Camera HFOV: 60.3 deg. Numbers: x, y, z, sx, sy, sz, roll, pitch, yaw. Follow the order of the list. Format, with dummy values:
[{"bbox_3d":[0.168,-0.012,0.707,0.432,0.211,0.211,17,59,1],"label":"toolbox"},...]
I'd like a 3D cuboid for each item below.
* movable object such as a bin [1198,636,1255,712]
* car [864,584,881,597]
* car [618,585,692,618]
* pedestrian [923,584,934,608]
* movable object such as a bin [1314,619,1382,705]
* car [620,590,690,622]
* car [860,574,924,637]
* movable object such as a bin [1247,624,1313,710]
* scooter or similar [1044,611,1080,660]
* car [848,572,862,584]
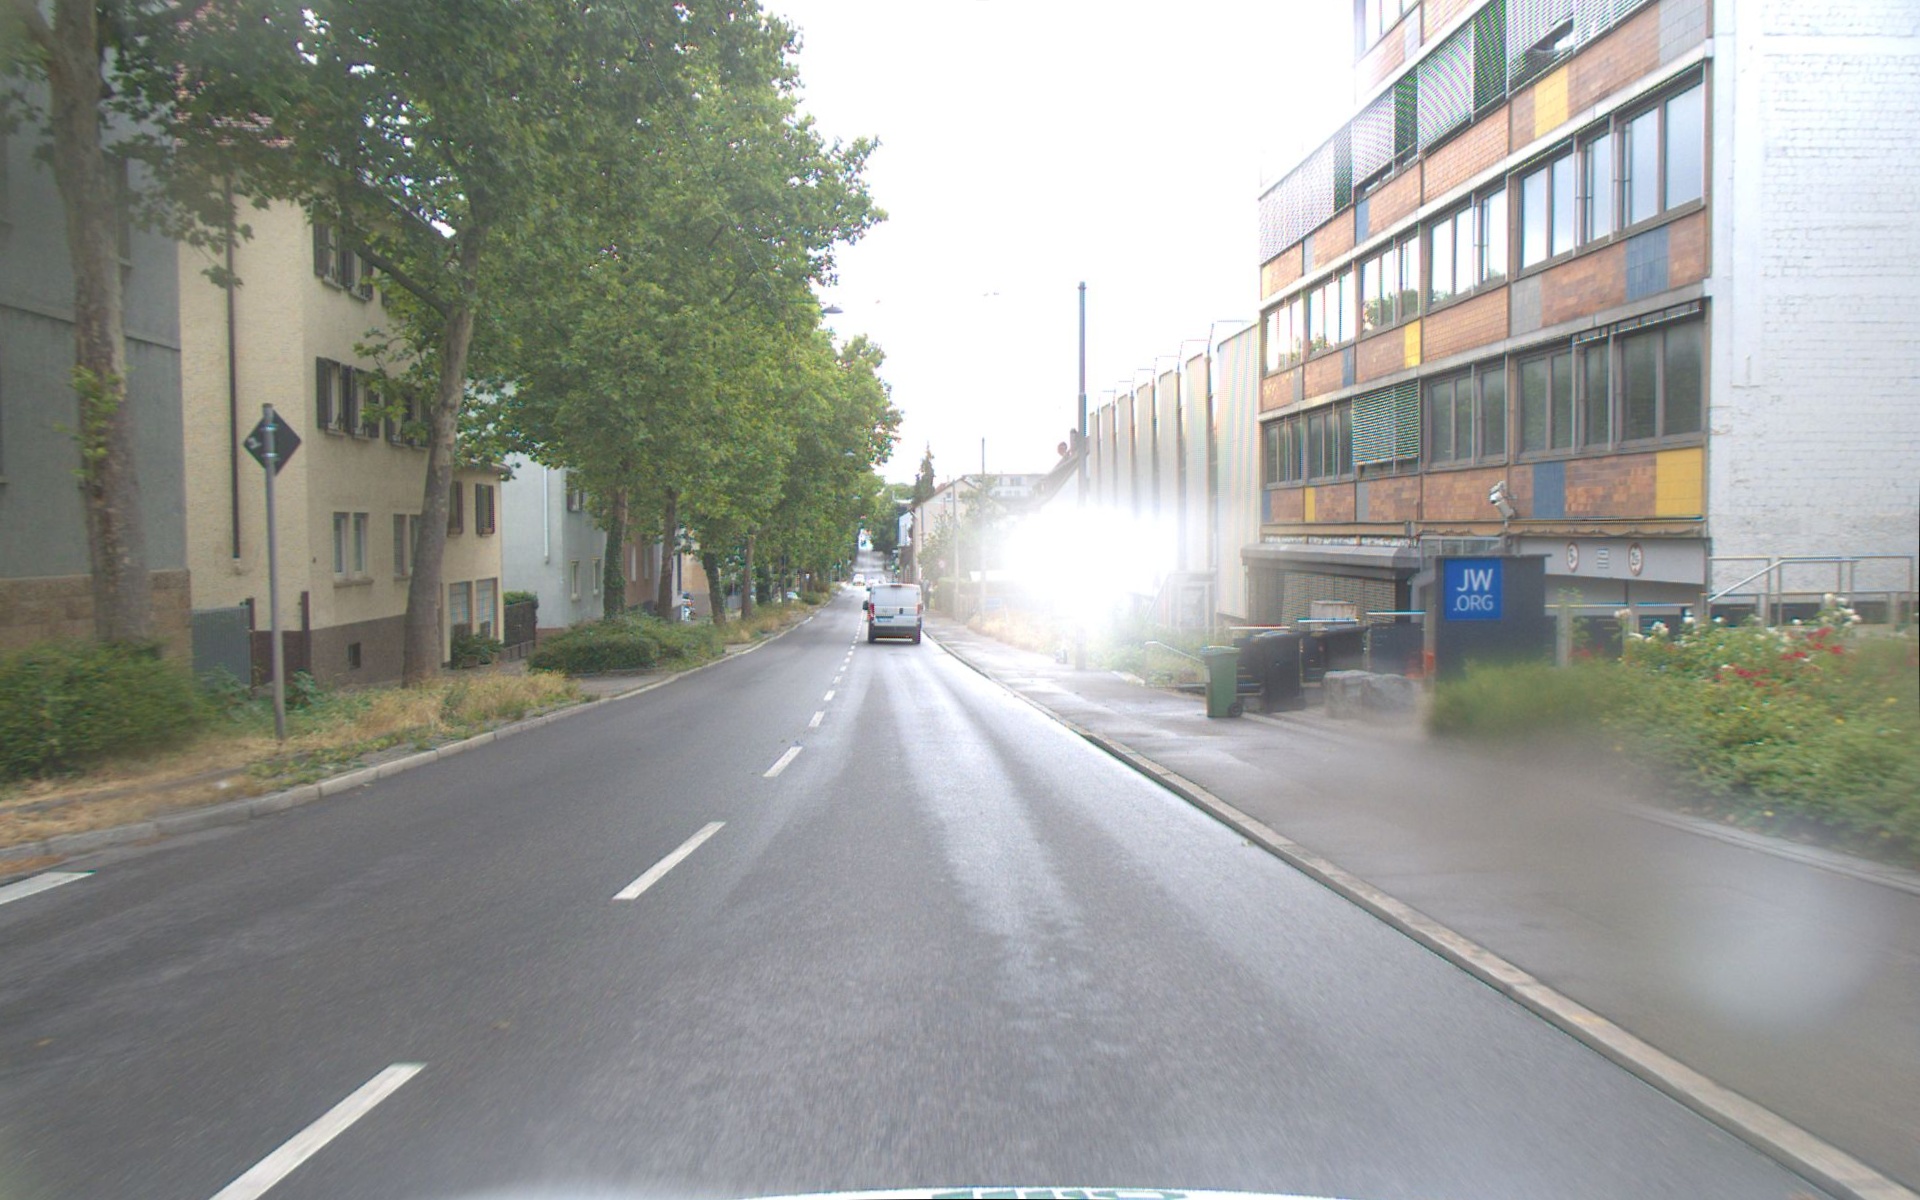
[{"bbox_3d":[3.604,0.990,22.405,0.607,0.953,0.686,-3,0,-2],"label":"movable object such as a bin"},{"bbox_3d":[-11.350,-1.234,214.067,1.953,1.604,4.000,0,1,0],"label":"car"},{"bbox_3d":[-18.167,0.096,98.640,4.114,1.925,1.999,-1,0,-4],"label":"car"},{"bbox_3d":[-2.393,-0.304,124.123,0.799,1.728,0.728,0,0,-4],"label":"pedestrian"},{"bbox_3d":[5.318,0.837,22.700,0.681,1.101,0.778,-3,0,-2],"label":"movable object such as a bin"},{"bbox_3d":[-19.179,0.380,104.095,4.114,1.925,1.999,-1,0,-4],"label":"car"},{"bbox_3d":[-2.699,0.178,64.622,2.301,2.197,4.774,-1,2,-5],"label":"car"},{"bbox_3d":[4.365,0.906,22.601,0.681,1.101,0.778,-3,0,-2],"label":"movable object such as a bin"},{"bbox_3d":[2.538,0.874,41.266,0.593,1.182,1.697,-1,0,-7],"label":"scooter or similar"},{"bbox_3d":[-15.619,-3.234,245.264,1.955,1.739,4.254,0,0,-6],"label":"car"}]
